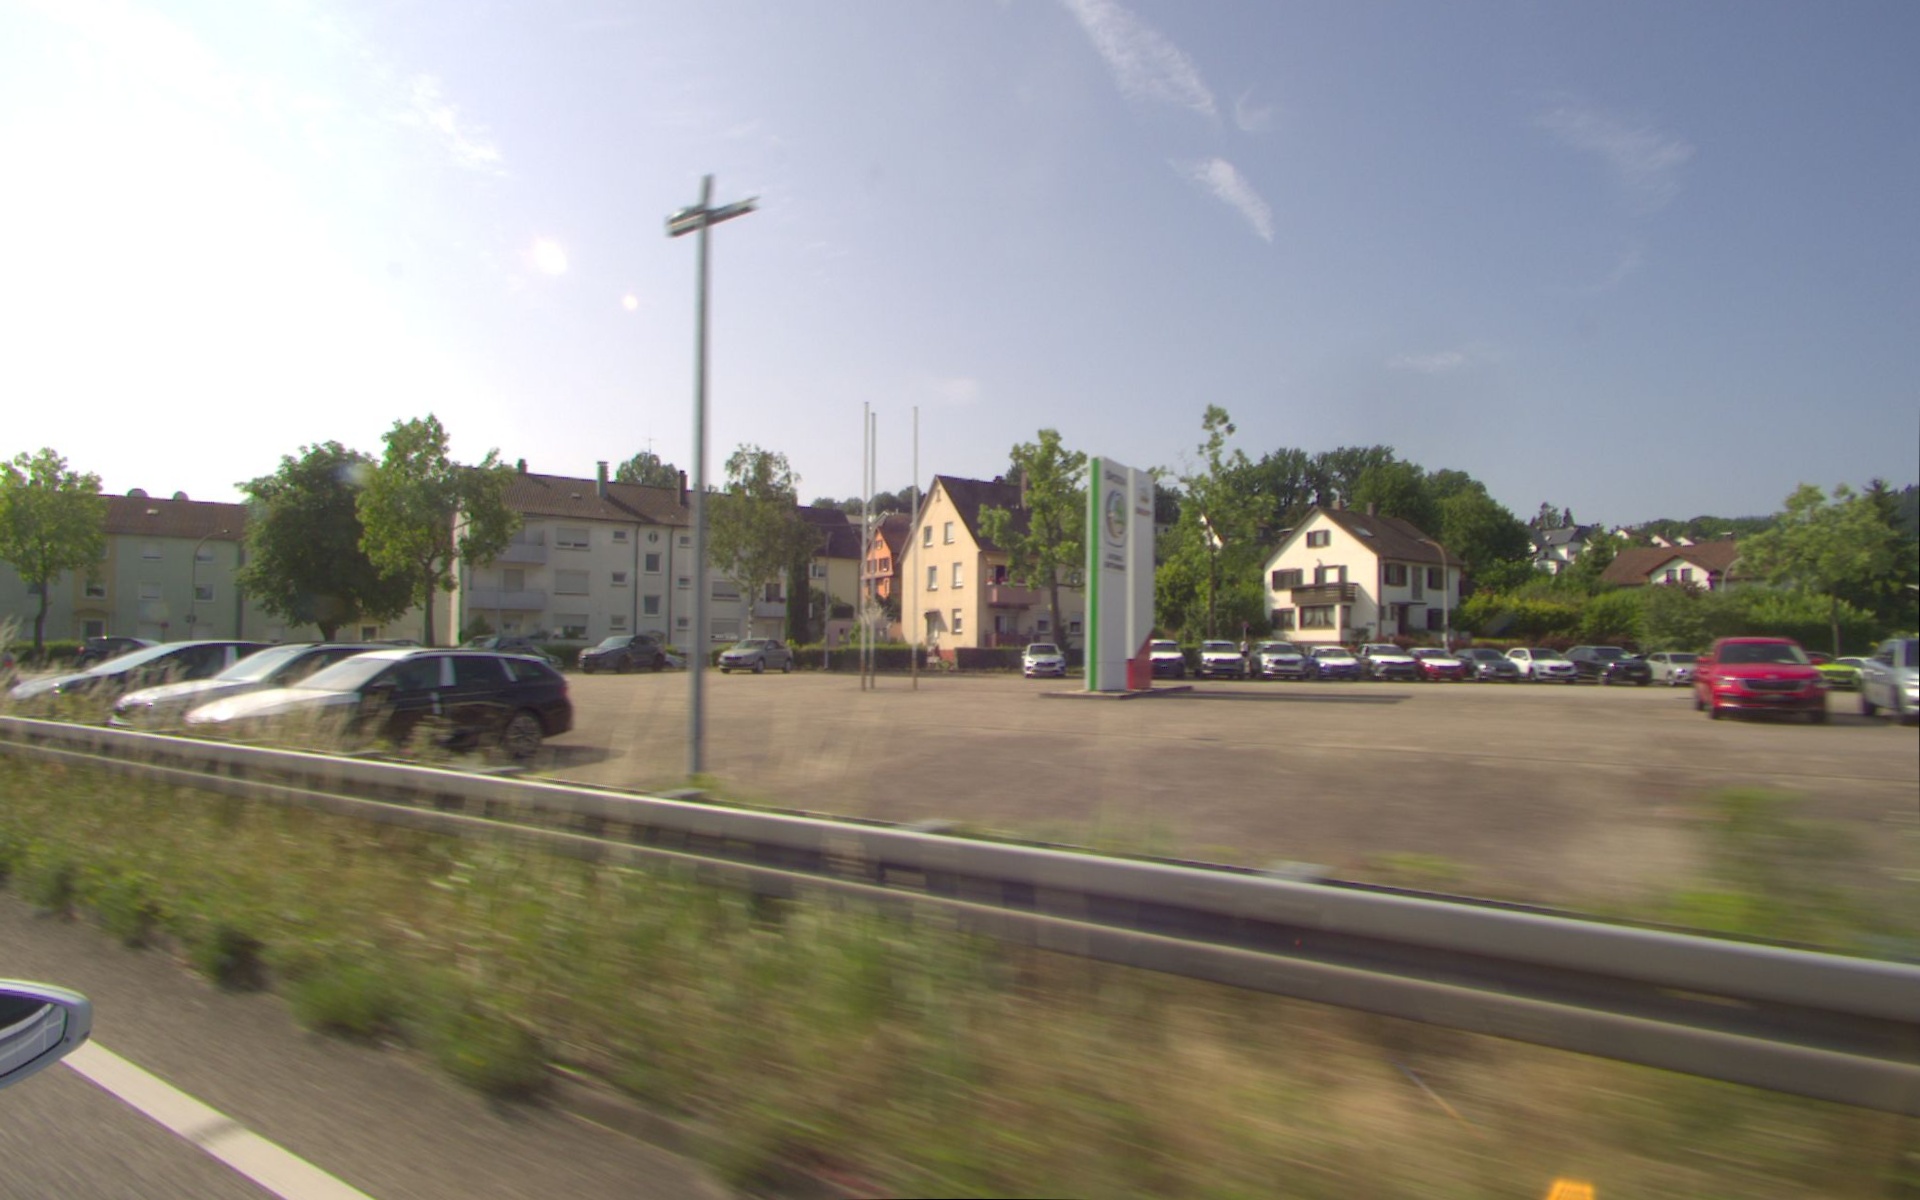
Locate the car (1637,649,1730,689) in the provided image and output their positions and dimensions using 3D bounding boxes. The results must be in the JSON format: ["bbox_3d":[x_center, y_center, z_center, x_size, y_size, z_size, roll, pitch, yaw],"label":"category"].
[{"bbox_3d":[31.673,2.978,44.003,1.806,1.566,4.747,-1,-2,16],"label":"car"}]

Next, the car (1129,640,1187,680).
[{"bbox_3d":[8.638,2.588,44.026,1.894,1.608,4.753,-1,-2,4],"label":"car"}]

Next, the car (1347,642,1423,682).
[{"bbox_3d":[18.916,2.725,44.792,1.894,1.655,4.752,-1,-2,7],"label":"car"}]

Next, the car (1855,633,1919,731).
[{"bbox_3d":[17.937,1.416,18.217,1.906,1.584,4.723,-1,-2,35],"label":"car"}]

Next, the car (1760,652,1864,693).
[{"bbox_3d":[36.743,3.098,43.353,1.745,1.566,4.745,-1,-2,18],"label":"car"}]

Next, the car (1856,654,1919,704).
[{"bbox_3d":[32.911,2.637,33.352,4.408,1.566,1.827,-2,-2,38],"label":"car"}]

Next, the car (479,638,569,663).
[{"bbox_3d":[-20.744,2.395,47.729,3.591,1.201,1.595,0,-2,1],"label":"car"}]

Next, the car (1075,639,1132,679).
[{"bbox_3d":[6.269,2.548,44.199,1.894,1.608,4.753,0,-2,1],"label":"car"}]

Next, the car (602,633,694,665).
[{"bbox_3d":[-15.117,2.379,48.612,3.911,1.493,1.788,0,-2,6],"label":"car"}]

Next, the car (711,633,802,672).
[{"bbox_3d":[-8.544,2.202,42.483,1.960,1.540,4.759,0,-2,14],"label":"car"}]

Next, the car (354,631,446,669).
[{"bbox_3d":[-23.884,2.127,42.853,1.625,1.541,3.768,0,-2,4],"label":"car"}]

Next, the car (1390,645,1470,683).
[{"bbox_3d":[21.125,2.846,45.245,1.742,1.566,4.753,-1,-2,5],"label":"car"}]

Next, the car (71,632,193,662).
[{"bbox_3d":[-39.687,2.256,48.037,4.437,1.423,1.915,0,-2,6],"label":"car"}]

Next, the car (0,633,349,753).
[{"bbox_3d":[-12.307,1.347,15.885,1.715,1.565,4.153,-1,-1,31],"label":"car"}]

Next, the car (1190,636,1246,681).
[{"bbox_3d":[11.277,2.524,44.085,1.895,1.803,4.752,-1,-2,9],"label":"car"}]

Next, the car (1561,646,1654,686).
[{"bbox_3d":[28.491,2.876,44.240,1.743,1.566,4.751,-1,-2,10],"label":"car"}]

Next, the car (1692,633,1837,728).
[{"bbox_3d":[15.655,1.473,19.716,1.906,1.584,4.723,-1,-2,35],"label":"car"}]

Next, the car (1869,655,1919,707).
[{"bbox_3d":[31.332,2.527,31.083,4.405,1.566,1.828,-2,-2,36],"label":"car"}]

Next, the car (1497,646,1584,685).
[{"bbox_3d":[25.911,2.908,44.873,1.742,1.566,4.752,-1,-2,9],"label":"car"}]

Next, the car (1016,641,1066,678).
[{"bbox_3d":[3.512,2.598,44.208,1.894,1.477,4.753,0,-2,1],"label":"car"}]

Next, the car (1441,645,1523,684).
[{"bbox_3d":[23.384,2.868,45.062,1.742,1.566,4.752,-1,-2,8],"label":"car"}]

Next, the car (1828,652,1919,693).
[{"bbox_3d":[39.352,3.050,42.941,1.746,1.566,4.741,-1,-2,22],"label":"car"}]

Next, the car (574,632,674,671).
[{"bbox_3d":[-14.236,2.171,42.697,1.829,1.540,4.634,0,-2,14],"label":"car"}]

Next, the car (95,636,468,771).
[{"bbox_3d":[-9.630,1.361,14.575,1.745,1.576,4.153,-1,-1,31],"label":"car"}]

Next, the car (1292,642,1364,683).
[{"bbox_3d":[16.264,2.722,44.482,1.894,1.655,4.753,-1,-2,6],"label":"car"}]

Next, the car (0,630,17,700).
[{"bbox_3d":[-24.442,1.500,22.792,1.859,1.660,3.983,-1,-2,30],"label":"car"}]

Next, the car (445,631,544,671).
[{"bbox_3d":[-19.914,2.152,43.072,1.806,1.620,4.499,0,-2,6],"label":"car"}]

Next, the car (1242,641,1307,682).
[{"bbox_3d":[13.860,2.671,44.406,1.894,1.655,4.752,-1,-2,7],"label":"car"}]

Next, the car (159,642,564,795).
[{"bbox_3d":[-7.398,1.345,12.823,1.706,1.510,4.153,-1,-1,31],"label":"car"}]
